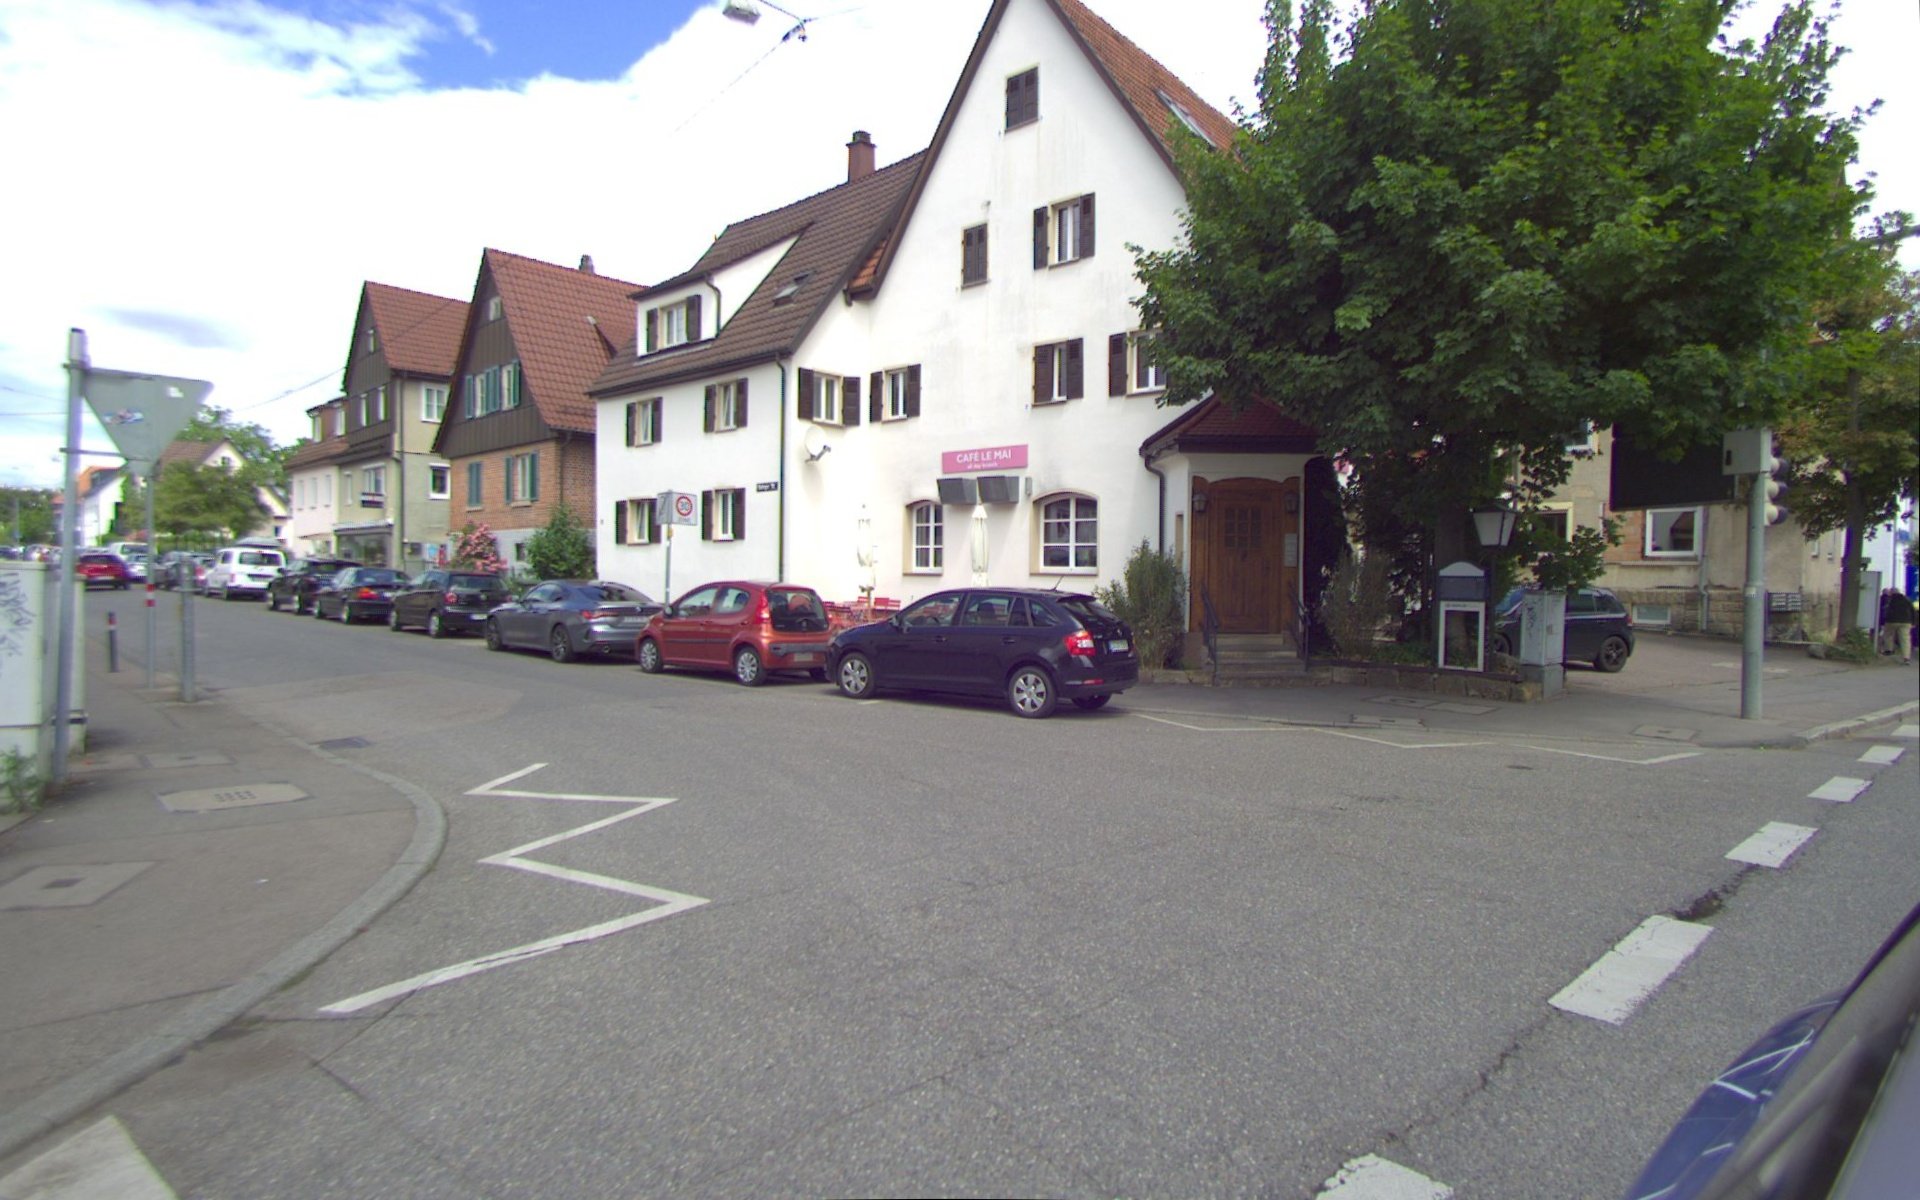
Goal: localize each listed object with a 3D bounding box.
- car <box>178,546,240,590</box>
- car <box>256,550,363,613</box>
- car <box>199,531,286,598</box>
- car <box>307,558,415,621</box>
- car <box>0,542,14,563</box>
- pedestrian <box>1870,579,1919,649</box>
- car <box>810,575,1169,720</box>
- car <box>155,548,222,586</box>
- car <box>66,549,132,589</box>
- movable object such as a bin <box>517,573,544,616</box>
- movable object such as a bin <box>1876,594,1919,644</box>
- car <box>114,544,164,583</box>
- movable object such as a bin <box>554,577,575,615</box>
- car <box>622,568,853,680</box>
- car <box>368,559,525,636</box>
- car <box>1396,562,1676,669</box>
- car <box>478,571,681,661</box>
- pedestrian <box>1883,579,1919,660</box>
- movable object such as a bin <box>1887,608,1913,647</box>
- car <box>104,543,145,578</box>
[{"bbox_3d":[-29.135,-1.216,39.247,3.143,1.630,1.486,1,1,45],"label":"car"},{"bbox_3d":[-18.828,-0.538,29.240,4.109,1.702,1.602,1,1,42],"label":"car"},{"bbox_3d":[-25.637,-1.239,36.106,4.112,2.252,1.866,1,1,45],"label":"car"},{"bbox_3d":[-15.184,-0.282,25.564,1.485,1.464,4.027,-1,1,-44],"label":"car"},{"bbox_3d":[-74.453,-3.639,78.304,3.701,1.537,1.731,1,1,45],"label":"car"},{"bbox_3d":[22.705,0.333,24.539,0.783,1.663,0.787,0,1,-35],"label":"pedestrian"},{"bbox_3d":[0.287,0.484,12.586,4.157,1.433,1.757,3,1,35],"label":"car"},{"bbox_3d":[-32.156,-1.342,42.146,3.701,1.491,1.716,1,1,45],"label":"car"},{"bbox_3d":[-34.751,-1.226,40.819,4.112,1.503,1.675,1,1,45],"label":"car"},{"bbox_3d":[-11.137,-0.148,26.239,0.390,1.098,0.520,1,1,41],"label":"movable object such as a bin"},{"bbox_3d":[25.206,0.495,26.674,1.170,1.281,1.202,1,1,19],"label":"movable object such as a bin"},{"bbox_3d":[-40.368,-1.755,49.728,3.701,1.856,1.498,1,1,45],"label":"car"},{"bbox_3d":[-10.533,-0.118,26.983,0.390,1.010,0.390,1,1,41],"label":"movable object such as a bin"},{"bbox_3d":[-3.411,0.294,15.296,3.406,1.505,1.630,1,1,38],"label":"car"},{"bbox_3d":[-11.526,-0.123,22.610,4.109,1.526,1.762,3,2,42],"label":"car"},{"bbox_3d":[9.831,0.251,17.348,3.993,1.535,1.763,2,4,-15],"label":"car"},{"bbox_3d":[-6.910,0.203,18.127,4.354,1.377,1.760,2,2,45],"label":"car"},{"bbox_3d":[21.719,0.430,23.106,0.882,1.805,0.743,0,1,-34],"label":"pedestrian"},{"bbox_3d":[24.256,0.700,26.113,0.408,0.949,0.269,6,4,39],"label":"movable object such as a bin"},{"bbox_3d":[-43.419,-2.004,52.562,3.052,1.753,1.340,1,1,45],"label":"car"}]
